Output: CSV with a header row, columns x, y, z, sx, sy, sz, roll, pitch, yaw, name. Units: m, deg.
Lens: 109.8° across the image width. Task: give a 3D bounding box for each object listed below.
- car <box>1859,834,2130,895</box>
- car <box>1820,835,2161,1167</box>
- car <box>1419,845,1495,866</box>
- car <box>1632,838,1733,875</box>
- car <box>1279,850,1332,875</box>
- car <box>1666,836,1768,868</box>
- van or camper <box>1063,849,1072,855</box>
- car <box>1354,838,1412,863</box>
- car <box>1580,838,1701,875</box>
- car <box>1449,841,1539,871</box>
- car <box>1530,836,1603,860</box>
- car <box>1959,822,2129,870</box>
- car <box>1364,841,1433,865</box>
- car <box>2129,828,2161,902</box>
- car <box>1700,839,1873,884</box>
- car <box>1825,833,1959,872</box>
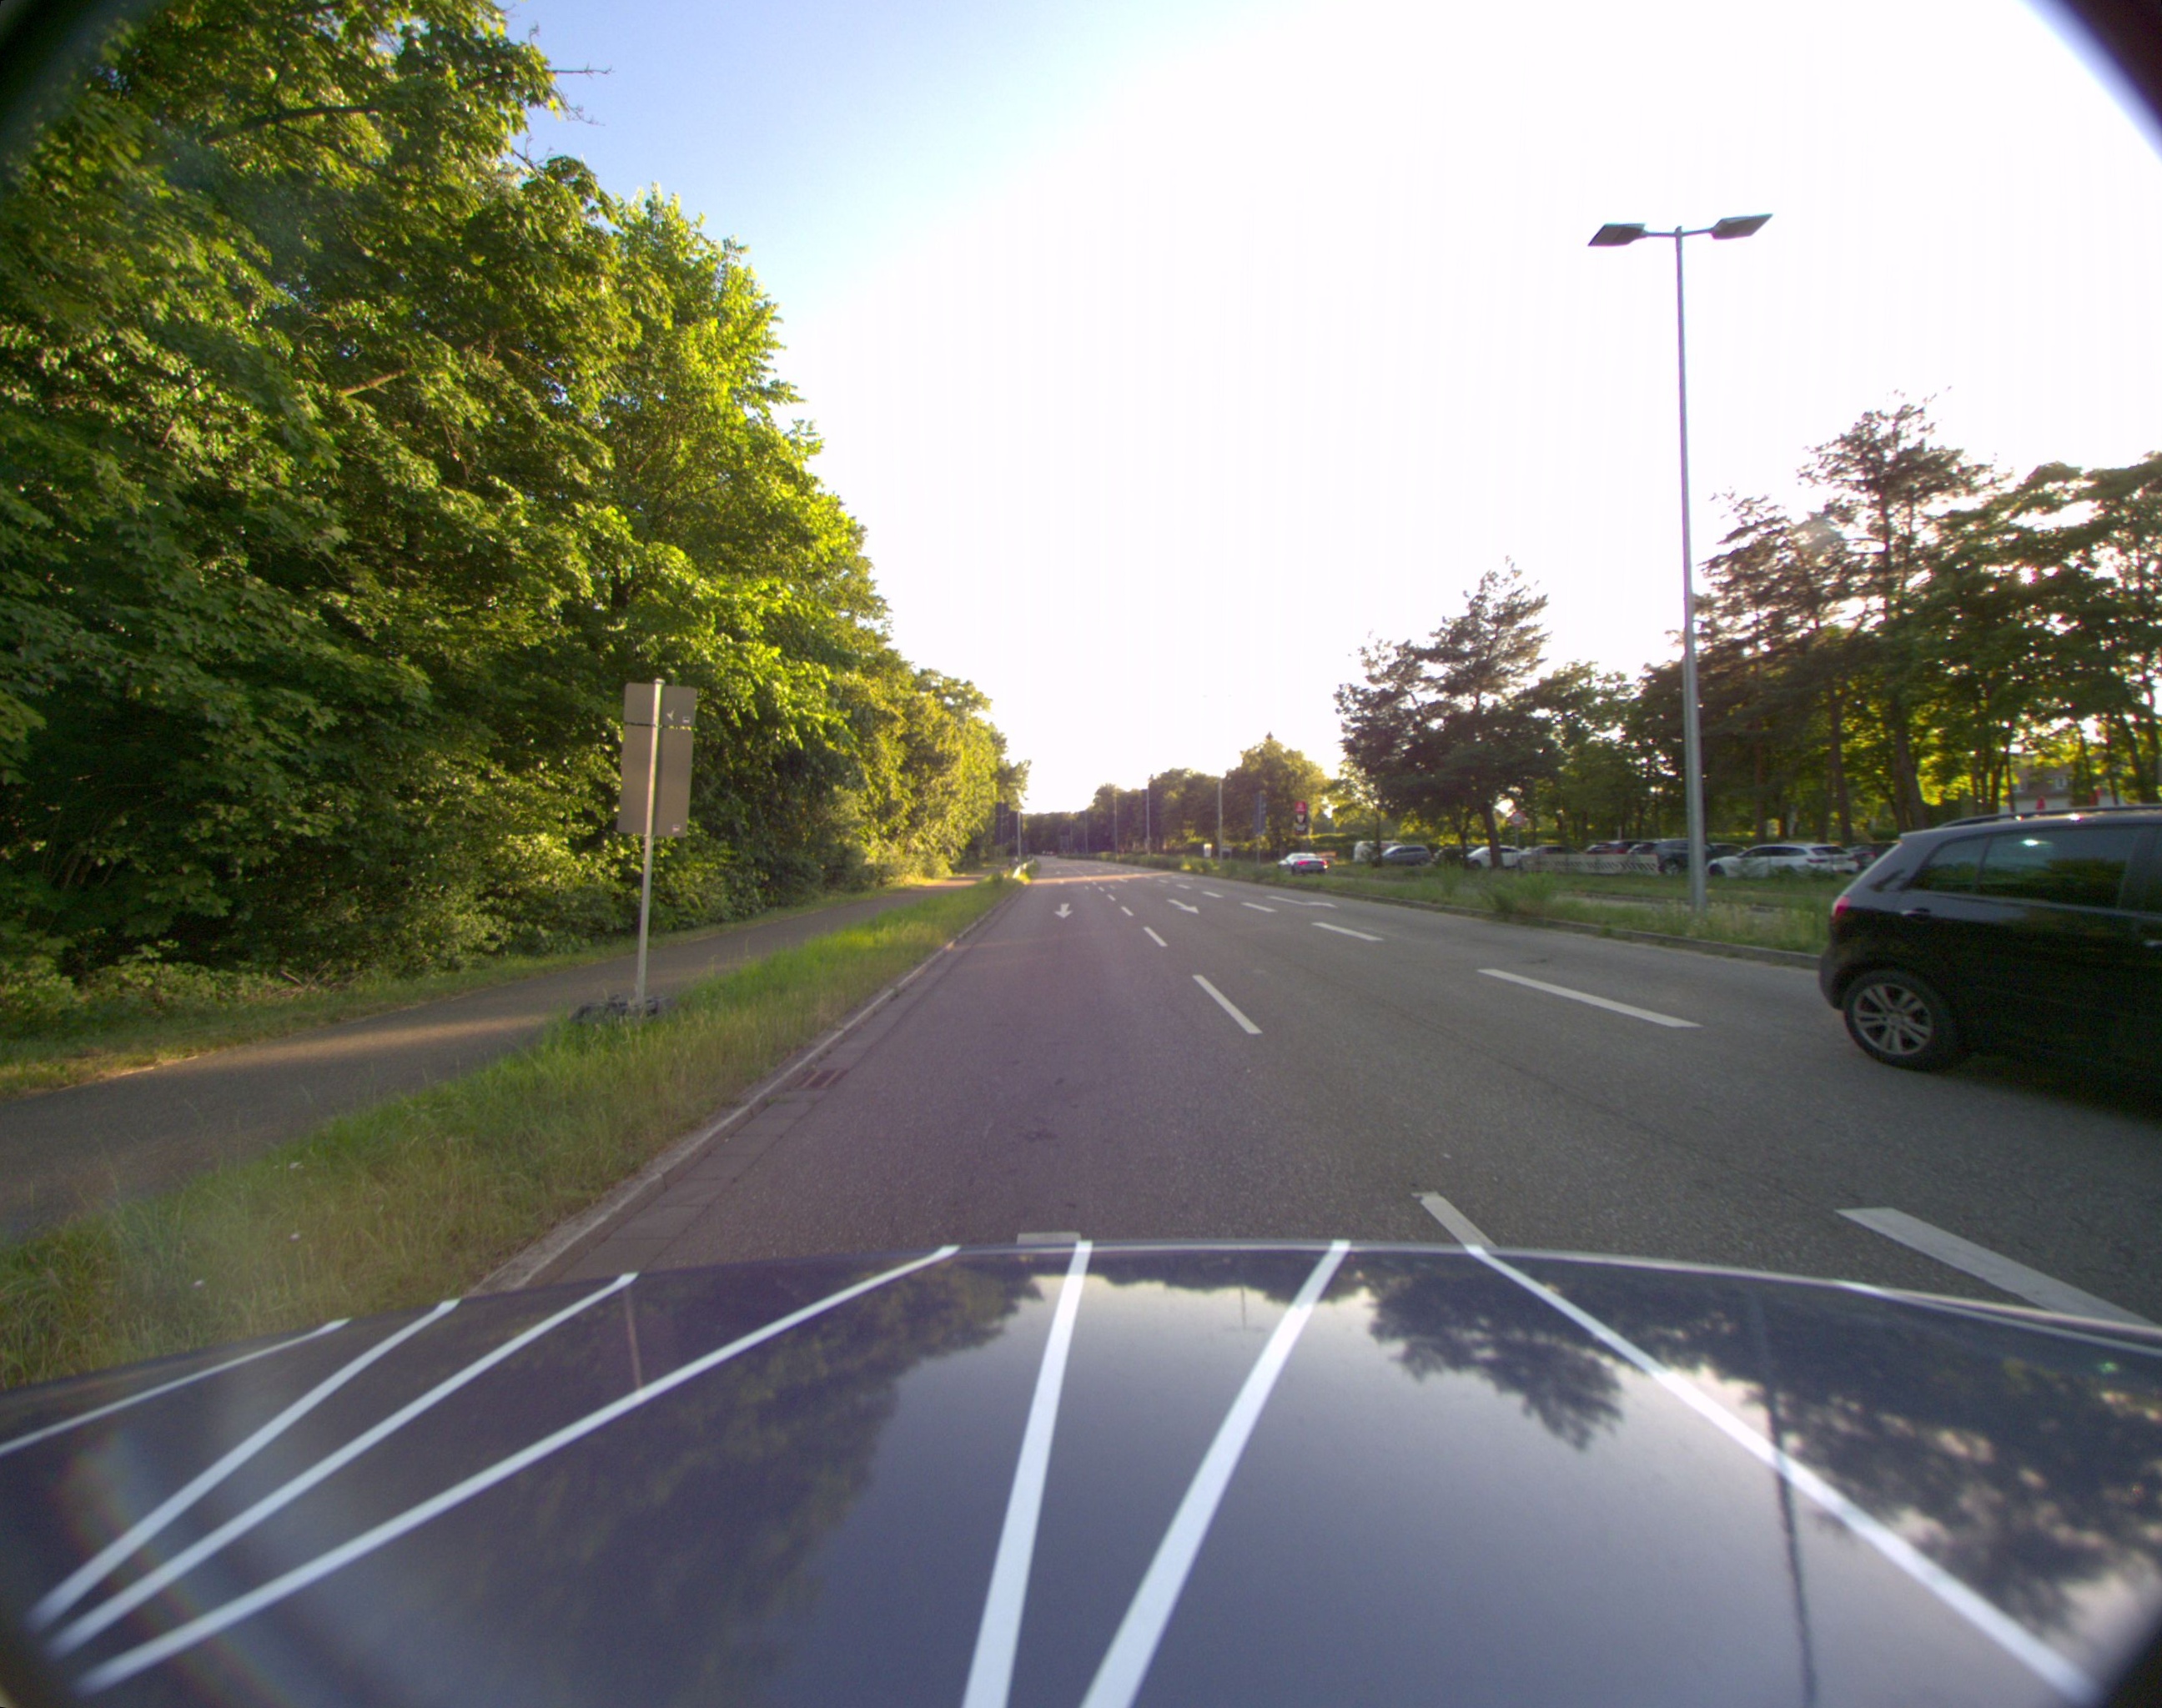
x,y,z,sx,sy,sz,roll,pitch,yaw,name
26.777,0.247,22.622,1.999,1.597,4.920,-1,1,-4,car
6.042,0.674,3.145,1.999,1.543,3.999,-1,0,-2,car
24.043,0.075,48.640,3.997,1.304,1.732,-1,1,-1,car
25.889,0.090,32.764,3.099,1.518,1.659,-1,1,-2,car
13.458,0.476,45.821,1.896,1.433,4.500,-1,1,1,car
34.082,-0.119,40.796,3.997,1.641,1.766,-1,1,-1,car
-4.360,-0.756,247.113,2.001,2.002,4.572,-1,0,-13,van or camper
24.227,-0.250,61.064,3.998,1.933,1.766,-1,1,-2,car
26.380,0.111,35.930,4.525,1.608,1.771,-1,1,-3,car
25.171,0.131,46.400,4.497,1.743,1.909,-1,1,-1,car
34.123,-0.400,53.477,3.997,1.641,1.766,-1,1,-1,car
34.983,-0.285,27.685,3.997,1.641,1.766,-1,1,-1,car
24.205,-0.097,58.026,4.498,1.787,1.909,-1,1,-2,car
27.109,0.259,16.414,1.999,1.776,4.920,-1,1,-4,car
26.422,0.258,28.730,1.999,1.539,4.708,-1,1,-4,car
35.422,-0.072,33.241,3.997,1.641,1.766,-1,1,-1,car
